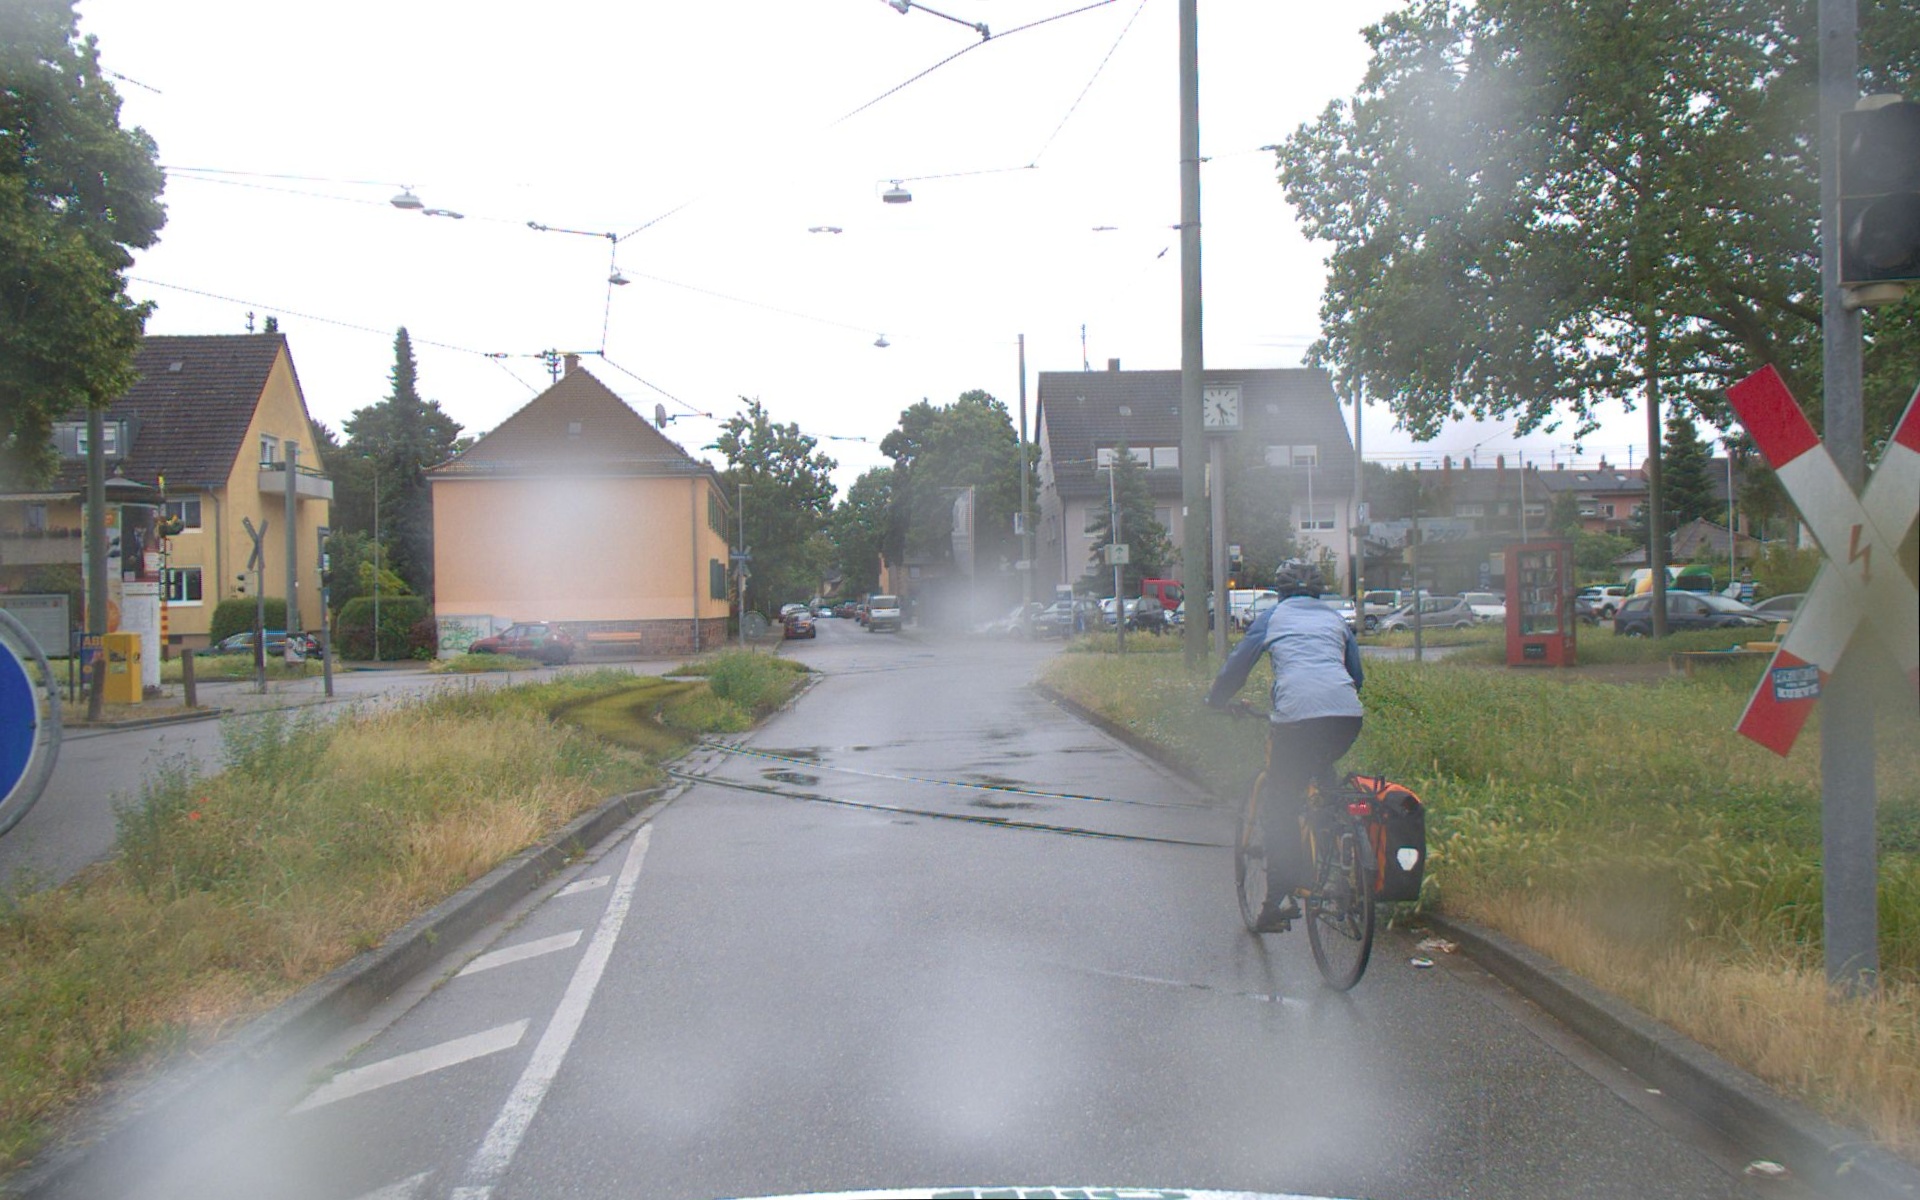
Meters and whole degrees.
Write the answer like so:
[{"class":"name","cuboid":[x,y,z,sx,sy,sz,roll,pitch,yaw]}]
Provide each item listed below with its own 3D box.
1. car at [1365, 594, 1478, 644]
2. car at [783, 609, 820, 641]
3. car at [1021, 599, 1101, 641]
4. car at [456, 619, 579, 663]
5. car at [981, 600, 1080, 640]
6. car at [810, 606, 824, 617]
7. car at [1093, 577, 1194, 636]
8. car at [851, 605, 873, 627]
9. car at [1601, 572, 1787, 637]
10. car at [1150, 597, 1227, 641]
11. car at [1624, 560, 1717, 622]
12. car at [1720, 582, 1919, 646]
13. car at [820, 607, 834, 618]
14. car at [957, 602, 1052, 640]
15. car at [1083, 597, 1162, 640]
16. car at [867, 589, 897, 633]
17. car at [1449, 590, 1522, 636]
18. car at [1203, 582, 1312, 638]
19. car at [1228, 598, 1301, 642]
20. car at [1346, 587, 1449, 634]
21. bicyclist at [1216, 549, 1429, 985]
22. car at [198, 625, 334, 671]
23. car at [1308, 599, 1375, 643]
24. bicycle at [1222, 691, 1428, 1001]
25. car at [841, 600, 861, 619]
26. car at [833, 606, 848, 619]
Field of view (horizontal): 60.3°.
[{"class":"car","cuboid":[16.893,0.691,60.636,3.609,1.731,1.890,1,-1,0]},{"class":"car","cuboid":[-8.730,1.360,91.122,1.768,1.680,3.998,1,-1,-2]},{"class":"car","cuboid":[4.216,0.836,68.415,1.954,1.669,3.997,0,-1,25]},{"class":"car","cuboid":[-15.469,1.433,57.977,3.910,1.482,1.831,1,-1,-6]},{"class":"car","cuboid":[3.089,0.890,72.332,3.955,1.705,1.975,1,-1,-36]},{"class":"car","cuboid":[-19.789,1.579,229.066,1.768,1.486,3.998,1,-1,-2]},{"class":"car","cuboid":[8.373,0.295,75.304,4.301,2.611,2.001,1,-1,14]},{"class":"car","cuboid":[-8.467,1.399,142.829,1.768,1.843,3.998,1,-1,-2]},{"class":"car","cuboid":[18.096,0.125,40.840,3.849,1.522,1.798,0,-1,44]},{"class":"car","cuboid":[9.142,0.761,65.854,1.954,1.669,3.997,0,-1,25]},{"class":"car","cuboid":[29.653,-0.352,69.187,1.953,2.485,4.352,1,-1,-1]},{"class":"car","cuboid":[18.950,0.307,36.131,3.902,1.308,1.848,1,-1,7]},{"class":"car","cuboid":[-17.970,1.732,223.813,1.768,1.486,3.998,1,-1,-2]},{"class":"car","cuboid":[2.024,0.944,75.395,3.955,1.672,1.975,1,-1,-36]},{"class":"car","cuboid":[6.610,0.740,67.012,1.954,1.669,3.997,0,-1,25]},{"class":"car","cuboid":[-4.874,0.719,103.488,1.768,2.673,3.998,1,-1,-2]},{"class":"car","cuboid":[21.478,0.544,67.753,1.952,1.822,4.002,1,-1,4]},{"class":"car","cuboid":[12.874,0.438,71.754,4.307,2.366,1.999,1,-1,-2]},{"class":"car","cuboid":[12.198,0.805,66.086,1.954,1.669,3.997,0,-1,25]},{"class":"car","cuboid":[18.952,0.466,71.817,3.907,1.985,1.999,1,-1,-2]},{"class":"bicyclist","cuboid":[1.450,0.640,6.732,0.653,1.654,0.852,1,-1,-1]},{"class":"car","cuboid":[-23.736,1.643,56.696,3.910,1.482,1.831,1,-1,-6]},{"class":"car","cuboid":[15.364,0.852,66.488,1.804,1.669,3.997,0,-1,25]},{"class":"bicycle","cuboid":[1.475,0.949,6.925,0.437,1.022,1.727,-1,0,-1]},{"class":"car","cuboid":[-10.531,0.935,160.058,1.768,1.843,3.998,1,-1,-2]},{"class":"car","cuboid":[-14.949,1.527,206.644,1.768,1.591,3.998,1,-1,-2]}]
